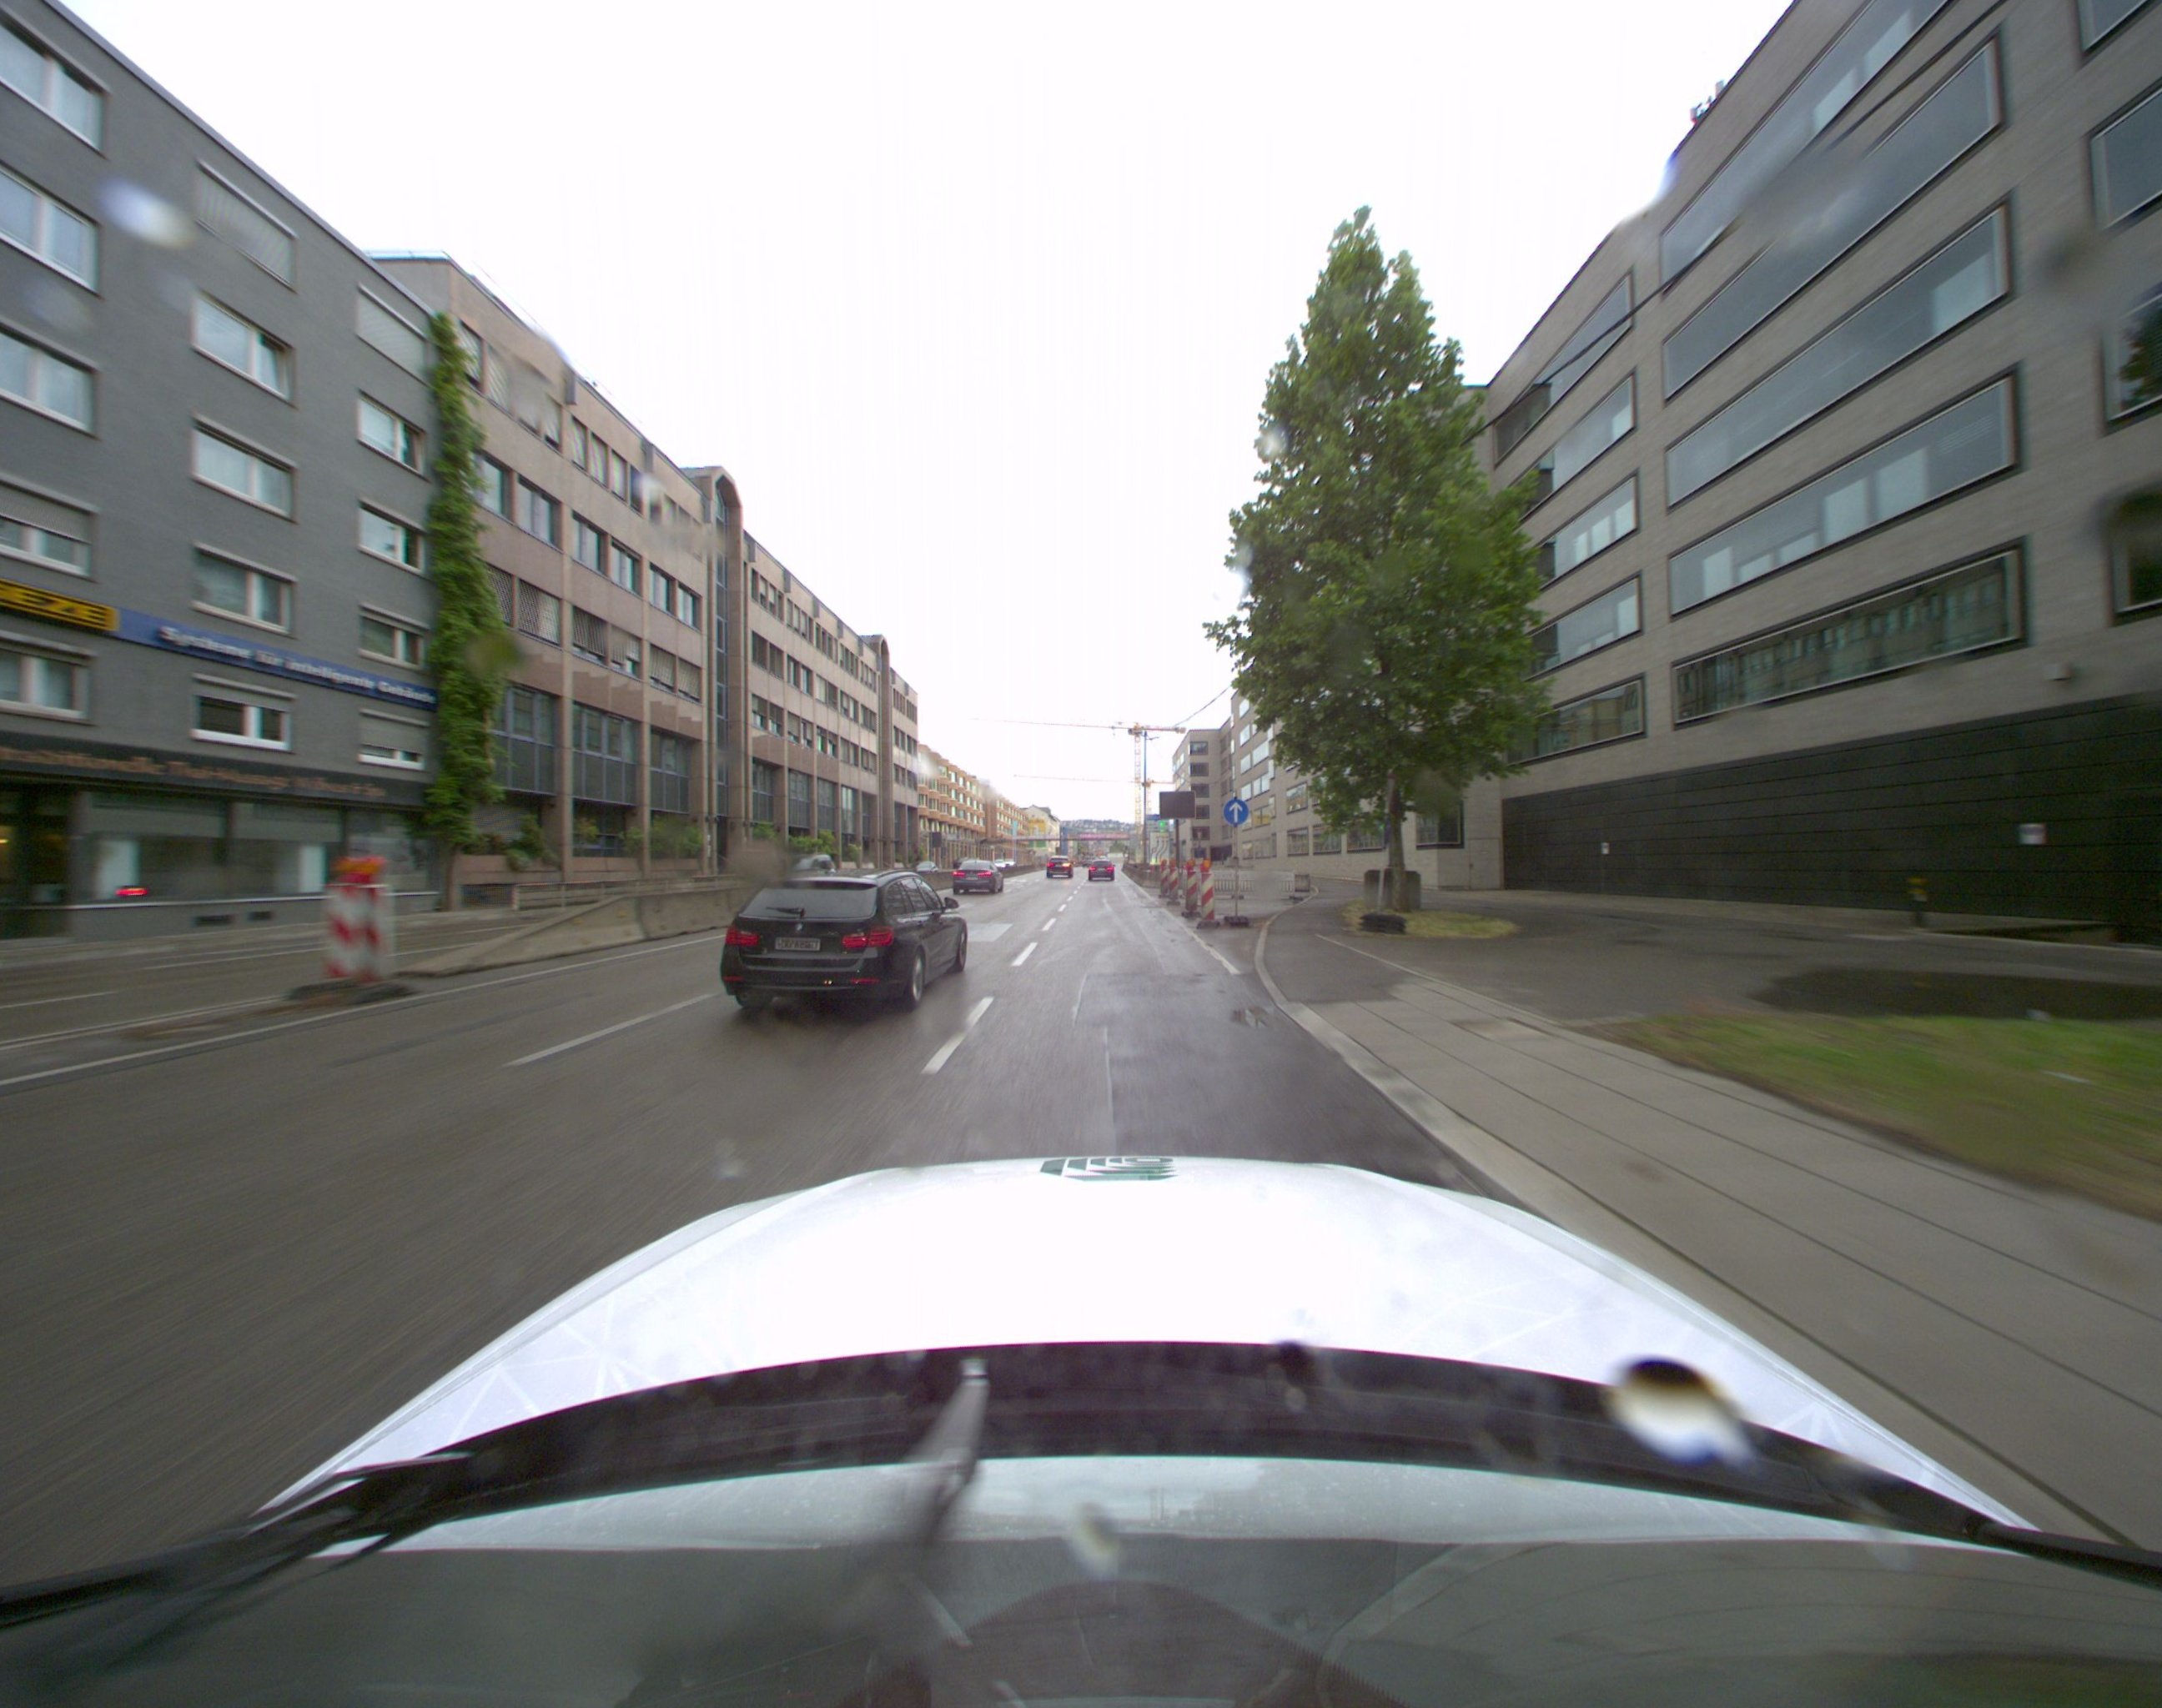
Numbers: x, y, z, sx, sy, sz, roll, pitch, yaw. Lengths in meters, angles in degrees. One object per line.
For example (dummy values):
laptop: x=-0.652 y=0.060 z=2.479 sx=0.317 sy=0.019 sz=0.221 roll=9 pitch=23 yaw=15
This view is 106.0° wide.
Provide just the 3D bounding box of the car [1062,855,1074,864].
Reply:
car: x=-2.403 y=0.968 z=154.545 sx=1.986 sy=1.620 sz=4.765 roll=-1 pitch=-1 yaw=2

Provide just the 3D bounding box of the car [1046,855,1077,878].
car: x=-1.472 y=0.958 z=62.575 sx=1.891 sy=1.693 sz=4.005 roll=-1 pitch=-1 yaw=5

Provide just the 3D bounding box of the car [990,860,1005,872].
car: x=-11.515 y=1.636 z=112.259 sx=1.596 sy=1.442 sz=3.659 roll=-1 pitch=1 yaw=1

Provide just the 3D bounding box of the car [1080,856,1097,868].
car: x=1.202 y=1.220 z=124.444 sx=1.888 sy=1.693 sz=4.012 roll=-2 pitch=-1 yaw=11

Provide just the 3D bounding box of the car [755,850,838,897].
car: x=-11.608 y=0.780 z=33.583 sx=1.714 sy=1.770 sz=4.427 roll=-1 pitch=-1 yaw=2

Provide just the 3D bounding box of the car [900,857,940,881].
car: x=-10.994 y=1.016 z=55.790 sx=1.854 sy=1.533 sz=4.230 roll=-1 pitch=-1 yaw=0

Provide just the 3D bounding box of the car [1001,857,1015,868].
car: x=-12.085 y=1.426 z=134.349 sx=1.814 sy=1.619 sz=4.192 roll=-1 pitch=1 yaw=1

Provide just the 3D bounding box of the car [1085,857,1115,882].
car: x=1.364 y=1.066 z=56.899 sx=1.892 sy=1.693 sz=4.004 roll=-1 pitch=-1 yaw=3

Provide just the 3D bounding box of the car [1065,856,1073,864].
car: x=-3.156 y=1.572 z=217.129 sx=1.985 sy=2.014 sz=4.003 roll=-1 pitch=-1 yaw=3

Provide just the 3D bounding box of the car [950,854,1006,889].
car: x=-4.447 y=0.746 z=35.800 sx=1.784 sy=1.426 sz=4.385 roll=-1 pitch=-1 yaw=1

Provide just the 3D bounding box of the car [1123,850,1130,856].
car: x=12.867 y=-0.242 z=230.341 sx=1.891 sy=1.693 sz=4.005 roll=-1 pitch=-1 yaw=5

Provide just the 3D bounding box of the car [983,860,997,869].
car: x=-17.646 y=1.962 z=157.667 sx=1.986 sy=1.620 sz=4.692 roll=-1 pitch=-1 yaw=2

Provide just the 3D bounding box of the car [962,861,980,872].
car: x=-17.375 y=1.981 z=128.632 sx=1.986 sy=1.620 sz=4.765 roll=-1 pitch=-1 yaw=2

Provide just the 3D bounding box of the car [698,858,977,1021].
car: x=-2.456 y=0.771 z=9.537 sx=1.785 sy=1.426 sz=4.614 roll=0 pitch=0 yaw=1
